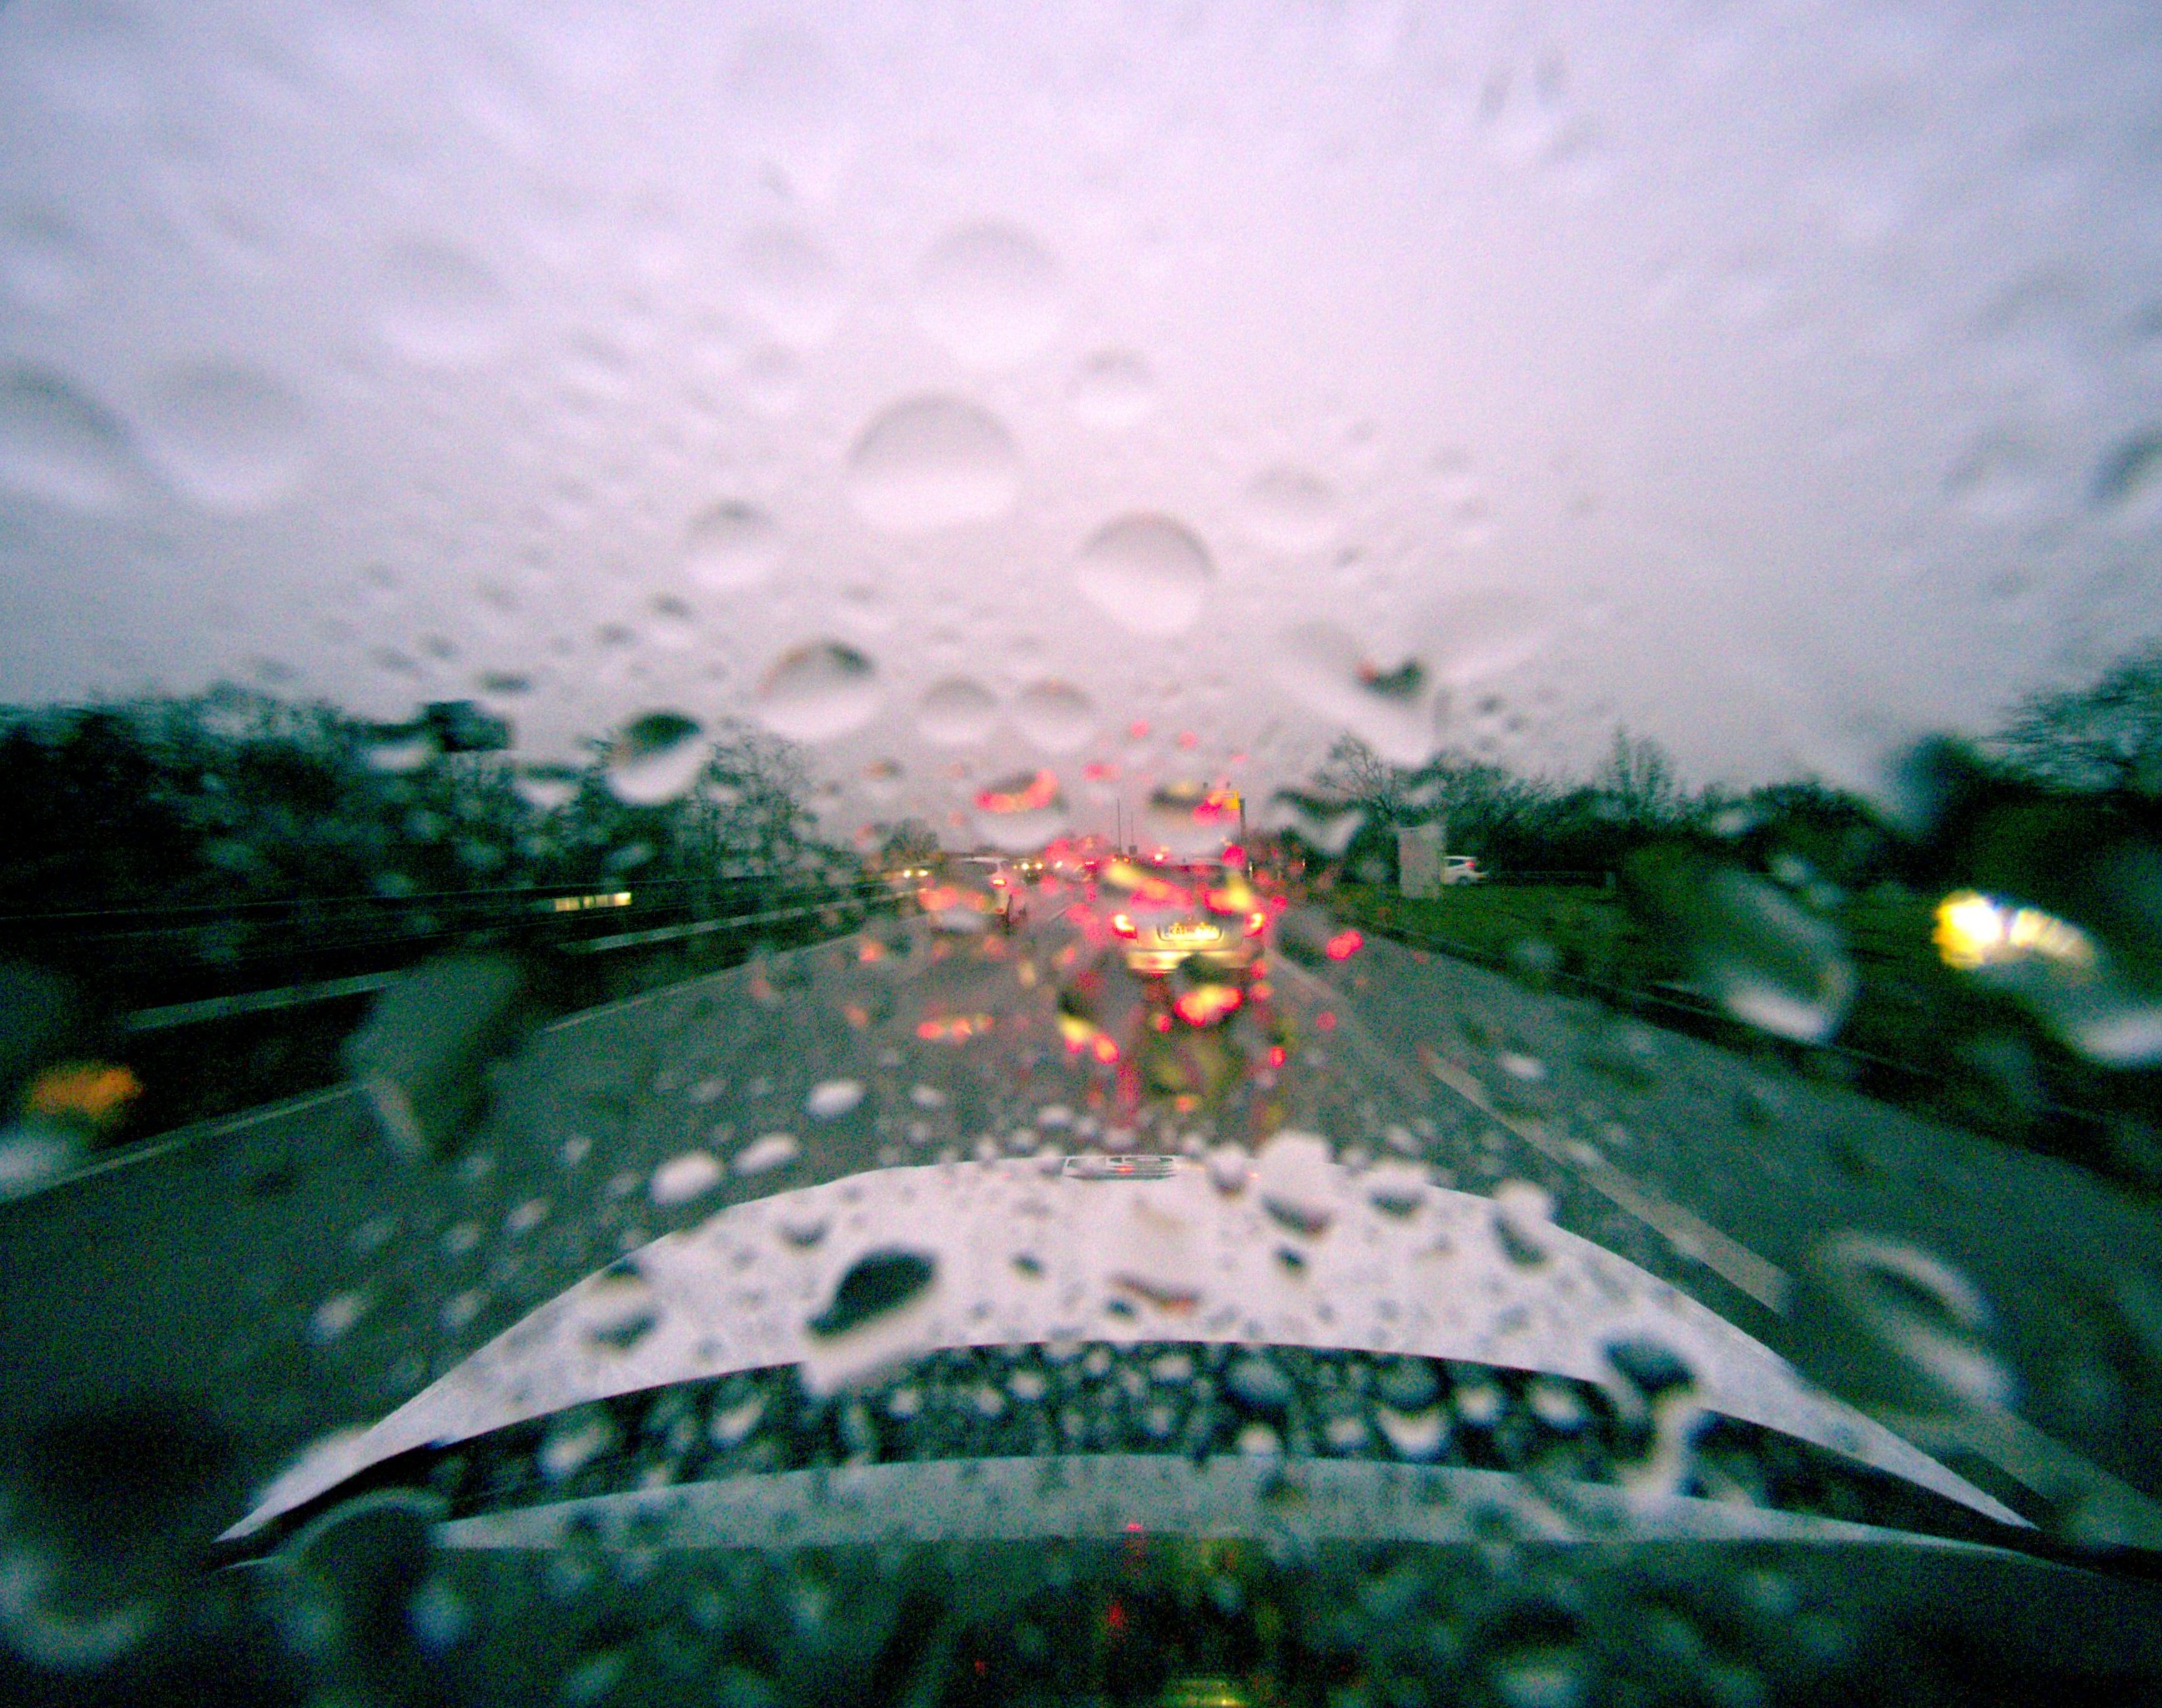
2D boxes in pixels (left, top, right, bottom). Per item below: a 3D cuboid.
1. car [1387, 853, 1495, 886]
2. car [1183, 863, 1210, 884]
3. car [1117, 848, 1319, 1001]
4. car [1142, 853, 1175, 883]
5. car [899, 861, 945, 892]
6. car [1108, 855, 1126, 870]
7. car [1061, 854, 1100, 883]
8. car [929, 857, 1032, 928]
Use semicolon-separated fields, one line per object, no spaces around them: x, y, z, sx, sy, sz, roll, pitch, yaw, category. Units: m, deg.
16.019;0.683;36.338;3.950;1.345;2.012;-1;0;43;car
9.227;1.525;65.213;1.781;1.545;4.004;-2;0;4;car
1.493;0.728;10.299;1.985;1.500;4.141;-2;-1;3;car
4.715;0.815;49.928;1.889;1.767;4.313;-1;0;4;car
-10.497;1.451;54.100;1.985;1.918;4.290;-1;0;3;car
3.767;0.863;84.994;1.782;1.545;4.002;-1;0;2;car
0.031;0.791;47.524;1.985;1.601;4.312;0;0;3;car
-2.233;0.816;19.177;1.717;1.440;4.228;-1;0;2;car
